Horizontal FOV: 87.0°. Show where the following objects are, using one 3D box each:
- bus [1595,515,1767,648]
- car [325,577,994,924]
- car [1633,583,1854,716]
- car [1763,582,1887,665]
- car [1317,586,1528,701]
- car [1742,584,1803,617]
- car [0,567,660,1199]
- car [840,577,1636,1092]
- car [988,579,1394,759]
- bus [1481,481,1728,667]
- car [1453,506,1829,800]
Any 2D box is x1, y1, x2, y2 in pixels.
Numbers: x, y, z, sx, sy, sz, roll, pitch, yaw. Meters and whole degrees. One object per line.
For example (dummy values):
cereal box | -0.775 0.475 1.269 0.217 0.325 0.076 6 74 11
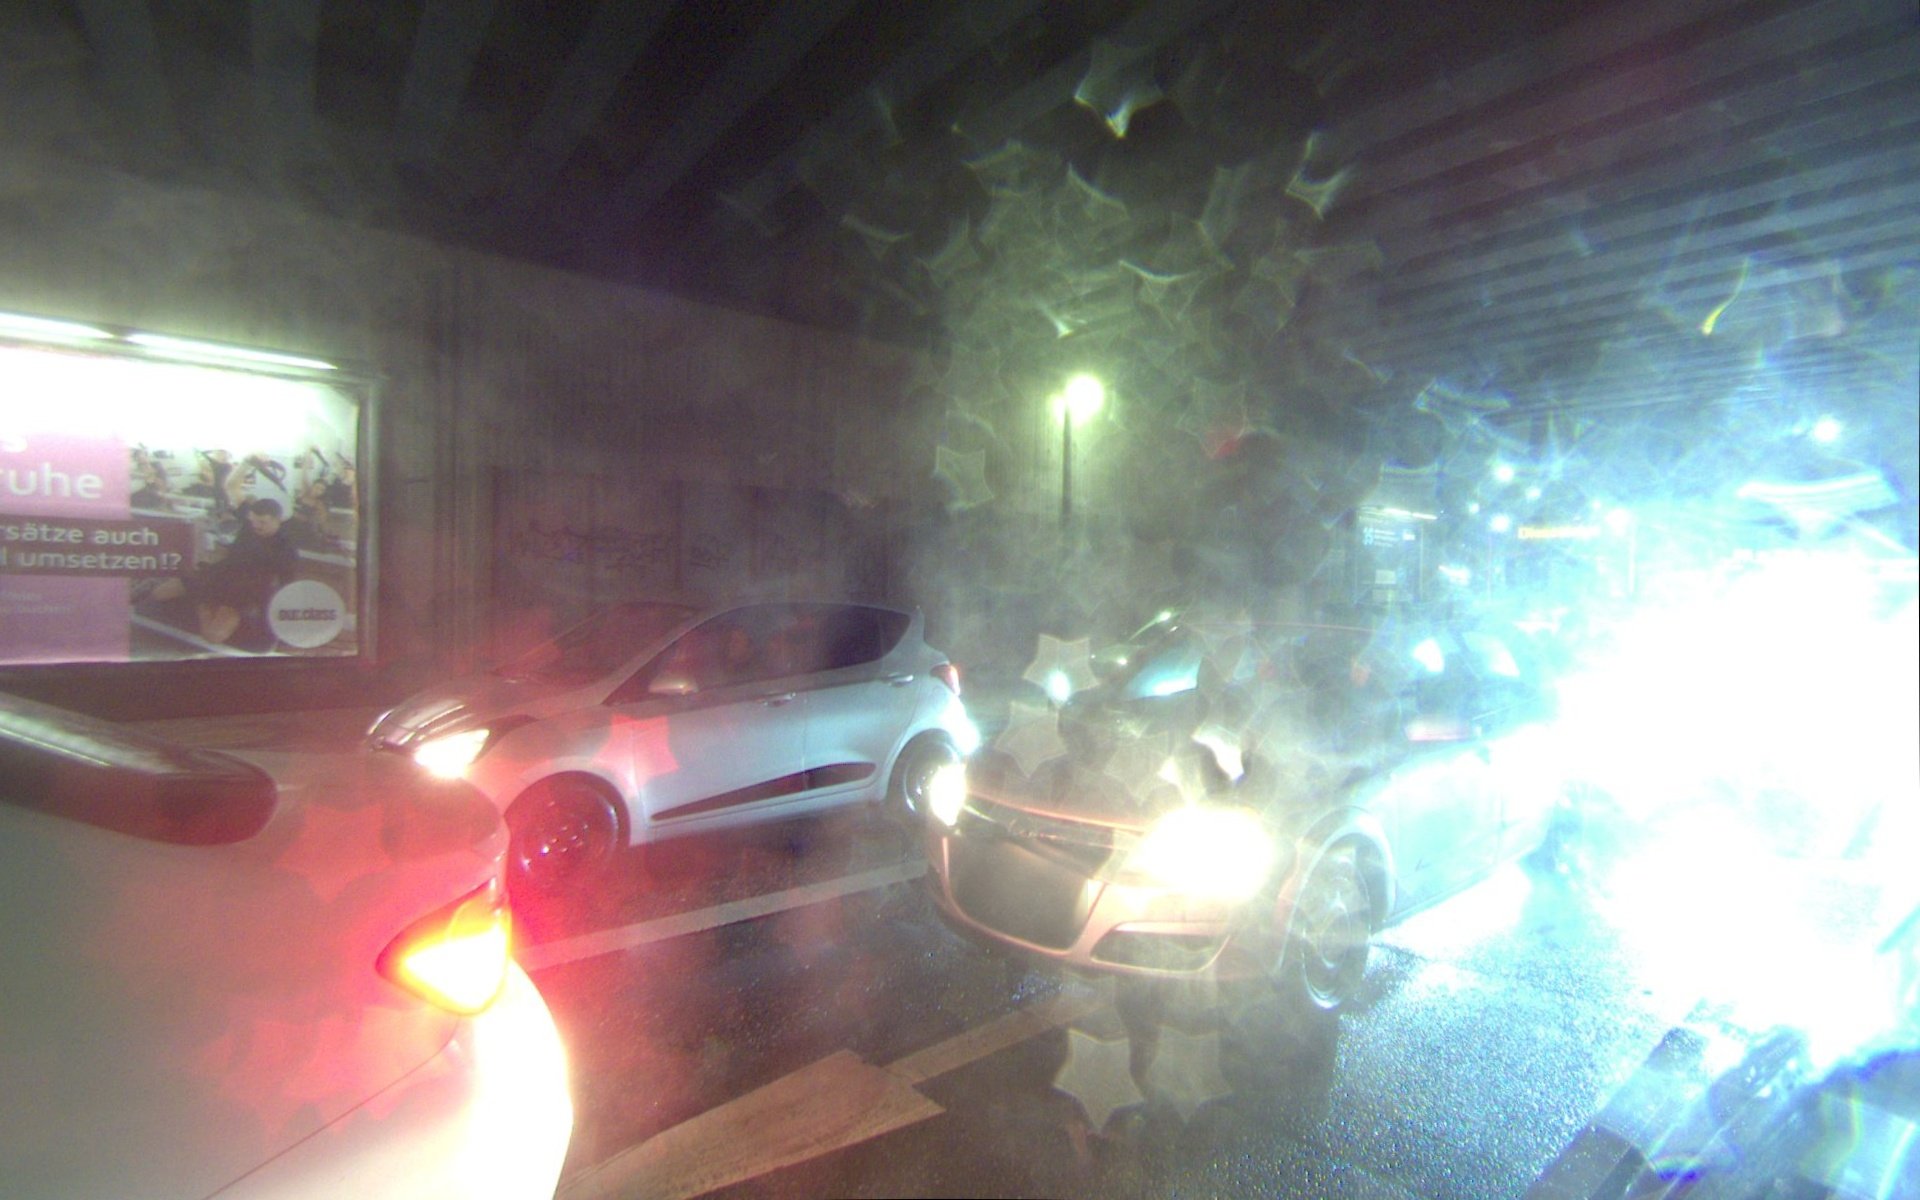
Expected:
bus | 20.631 -0.443 28.657 2.768 3.163 9.609 0 0 43
car | -1.628 0.619 6.108 3.532 1.477 1.636 -1 0 -42
car | 10.605 0.548 13.608 3.705 1.531 1.865 -1 0 -44
car | 17.580 0.413 20.509 1.626 1.522 3.935 0 0 45
car | 6.908 0.543 14.947 1.750 1.449 3.701 2 1 43
car | 37.909 -0.007 47.297 1.670 1.490 3.956 0 0 31
car | -2.678 0.683 0.981 4.273 1.422 1.719 -1 0 -41
car | 1.569 0.619 4.812 3.931 1.384 1.791 -2 2 -41
car | 2.490 0.549 10.114 4.489 1.408 1.754 1 0 -43
bus | 14.068 -0.440 21.610 2.768 3.163 9.609 0 0 43
car | 6.513 0.356 9.487 4.274 2.115 1.996 -1 0 -43
